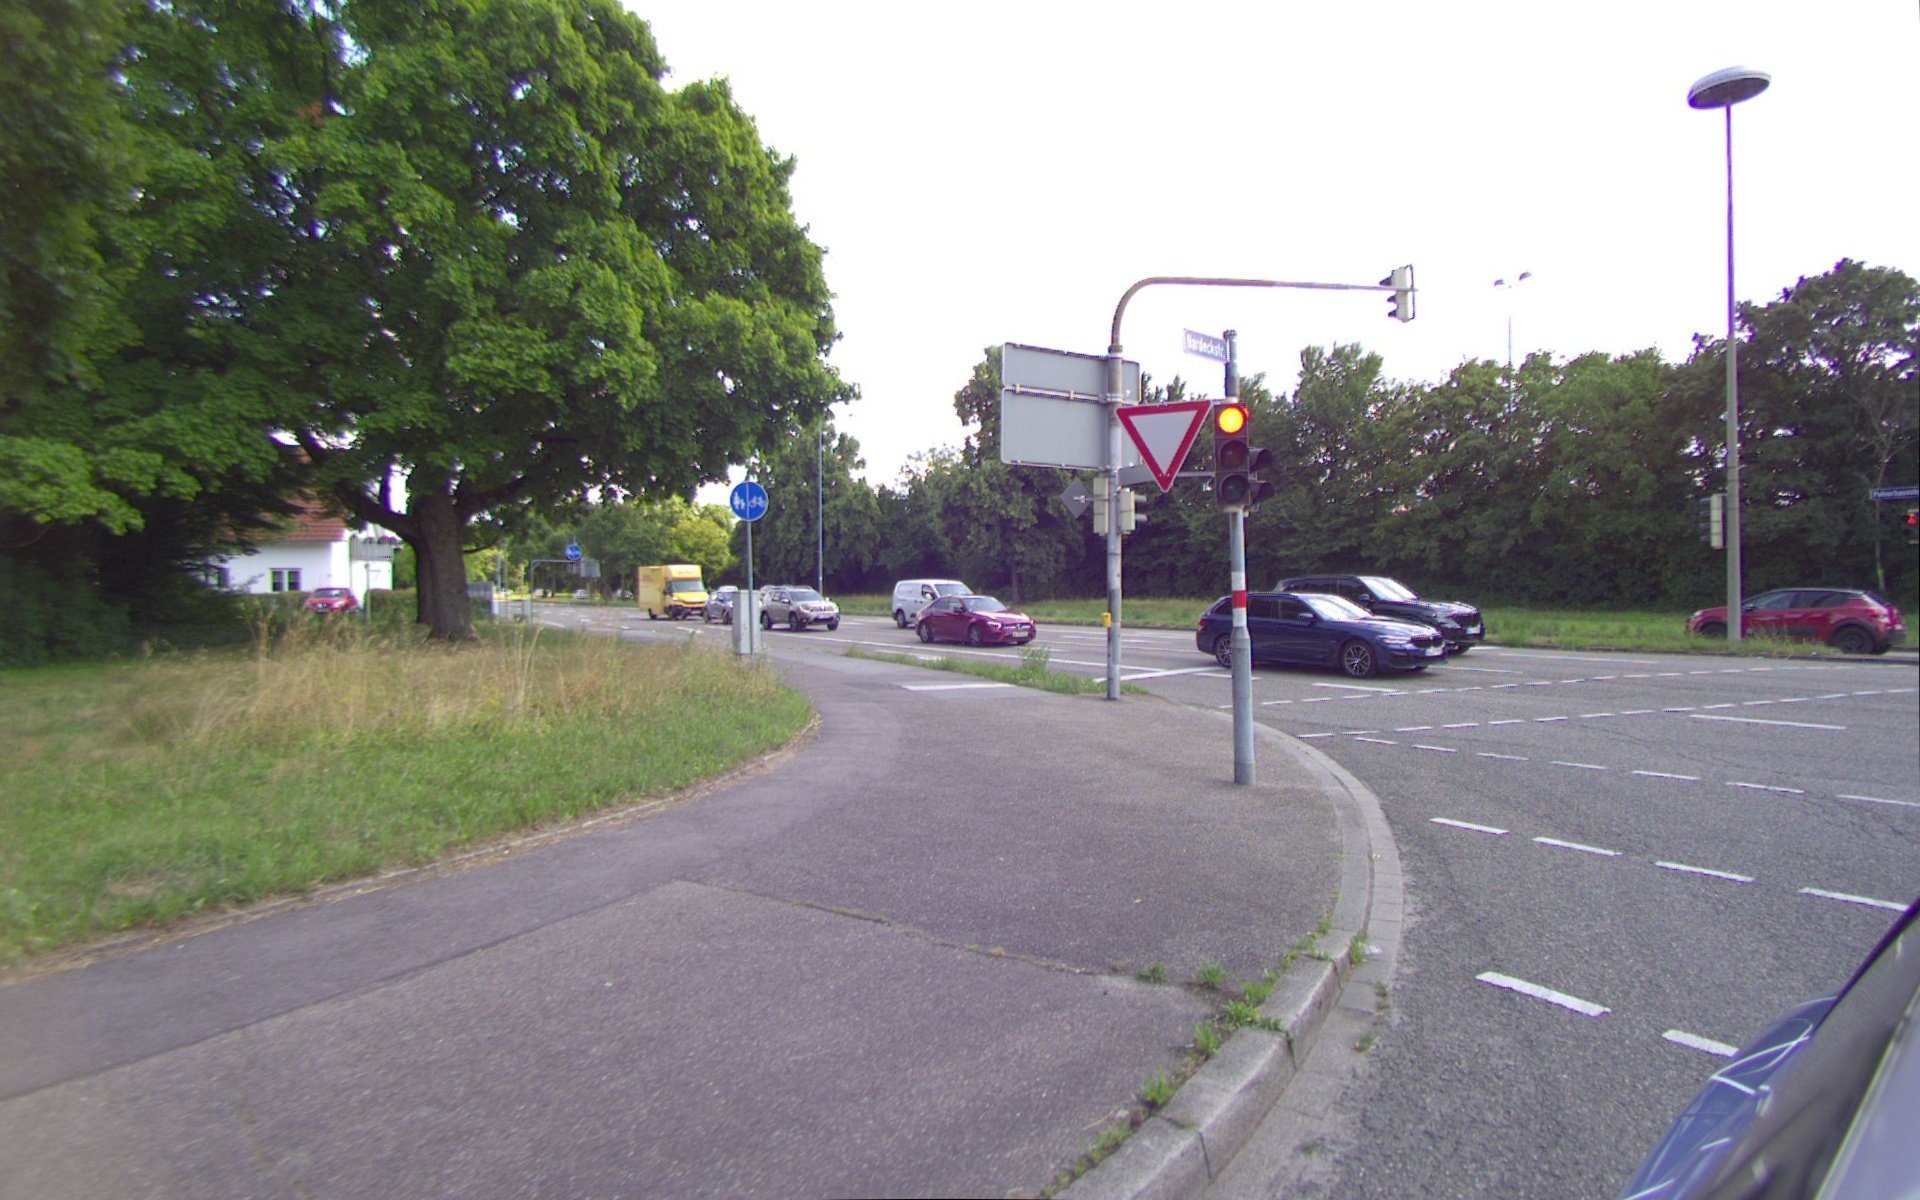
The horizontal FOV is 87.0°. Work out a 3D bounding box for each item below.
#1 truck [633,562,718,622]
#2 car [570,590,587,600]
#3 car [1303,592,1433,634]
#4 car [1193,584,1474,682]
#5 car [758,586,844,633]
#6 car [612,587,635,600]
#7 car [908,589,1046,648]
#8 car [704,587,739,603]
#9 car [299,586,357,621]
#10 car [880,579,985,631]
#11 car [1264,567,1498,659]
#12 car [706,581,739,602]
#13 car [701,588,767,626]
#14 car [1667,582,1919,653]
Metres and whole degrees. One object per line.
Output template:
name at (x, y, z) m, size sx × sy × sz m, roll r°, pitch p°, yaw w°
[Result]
truck at (-15.175, -0.428, 53.629) m, size 2.320 × 2.895 × 6.970 m, roll -3°, pitch 2°, yaw -33°
car at (-54.381, -0.675, 144.234) m, size 1.438 × 1.388 × 3.659 m, roll 0°, pitch 0°, yaw -34°
car at (14.316, 0.407, 35.681) m, size 1.569 × 1.390 × 4.081 m, roll 0°, pitch 0°, yaw -35°
car at (6.834, 0.508, 19.087) m, size 1.768 × 1.515 × 4.876 m, roll -3°, pitch 3°, yaw -33°
car at (-6.176, 0.321, 38.859) m, size 1.695 × 1.631 × 4.178 m, roll -2°, pitch 2°, yaw -33°
car at (-41.222, -0.802, 123.922) m, size 1.502 × 1.476 × 4.208 m, roll 0°, pitch 1°, yaw -34°
car at (0.383, 0.460, 29.069) m, size 1.696 × 1.480 × 4.537 m, roll -3°, pitch 2°, yaw -33°
car at (-19.849, -0.435, 84.127) m, size 1.724 × 1.324 × 3.696 m, roll 1°, pitch 0°, yaw -32°
car at (-30.181, 0.146, 48.446) m, size 1.647 × 1.550 × 4.402 m, roll -1°, pitch 0°, yaw -22°
car at (-1.128, 0.133, 38.164) m, size 1.737 × 1.820 × 4.733 m, roll -2°, pitch 2°, yaw -33°
car at (9.124, 0.202, 22.314) m, size 1.784 × 1.767 × 4.552 m, roll -2°, pitch 2°, yaw -33°
car at (-21.992, -0.790, 93.588) m, size 1.644 × 1.816 × 4.257 m, roll -1°, pitch 2°, yaw -33°
car at (-10.328, 0.270, 46.086) m, size 1.696 × 1.549 × 3.896 m, roll -3°, pitch 3°, yaw -33°
car at (19.139, 0.342, 23.235) m, size 1.744 × 1.483 × 4.455 m, roll -1°, pitch 1°, yaw -35°
